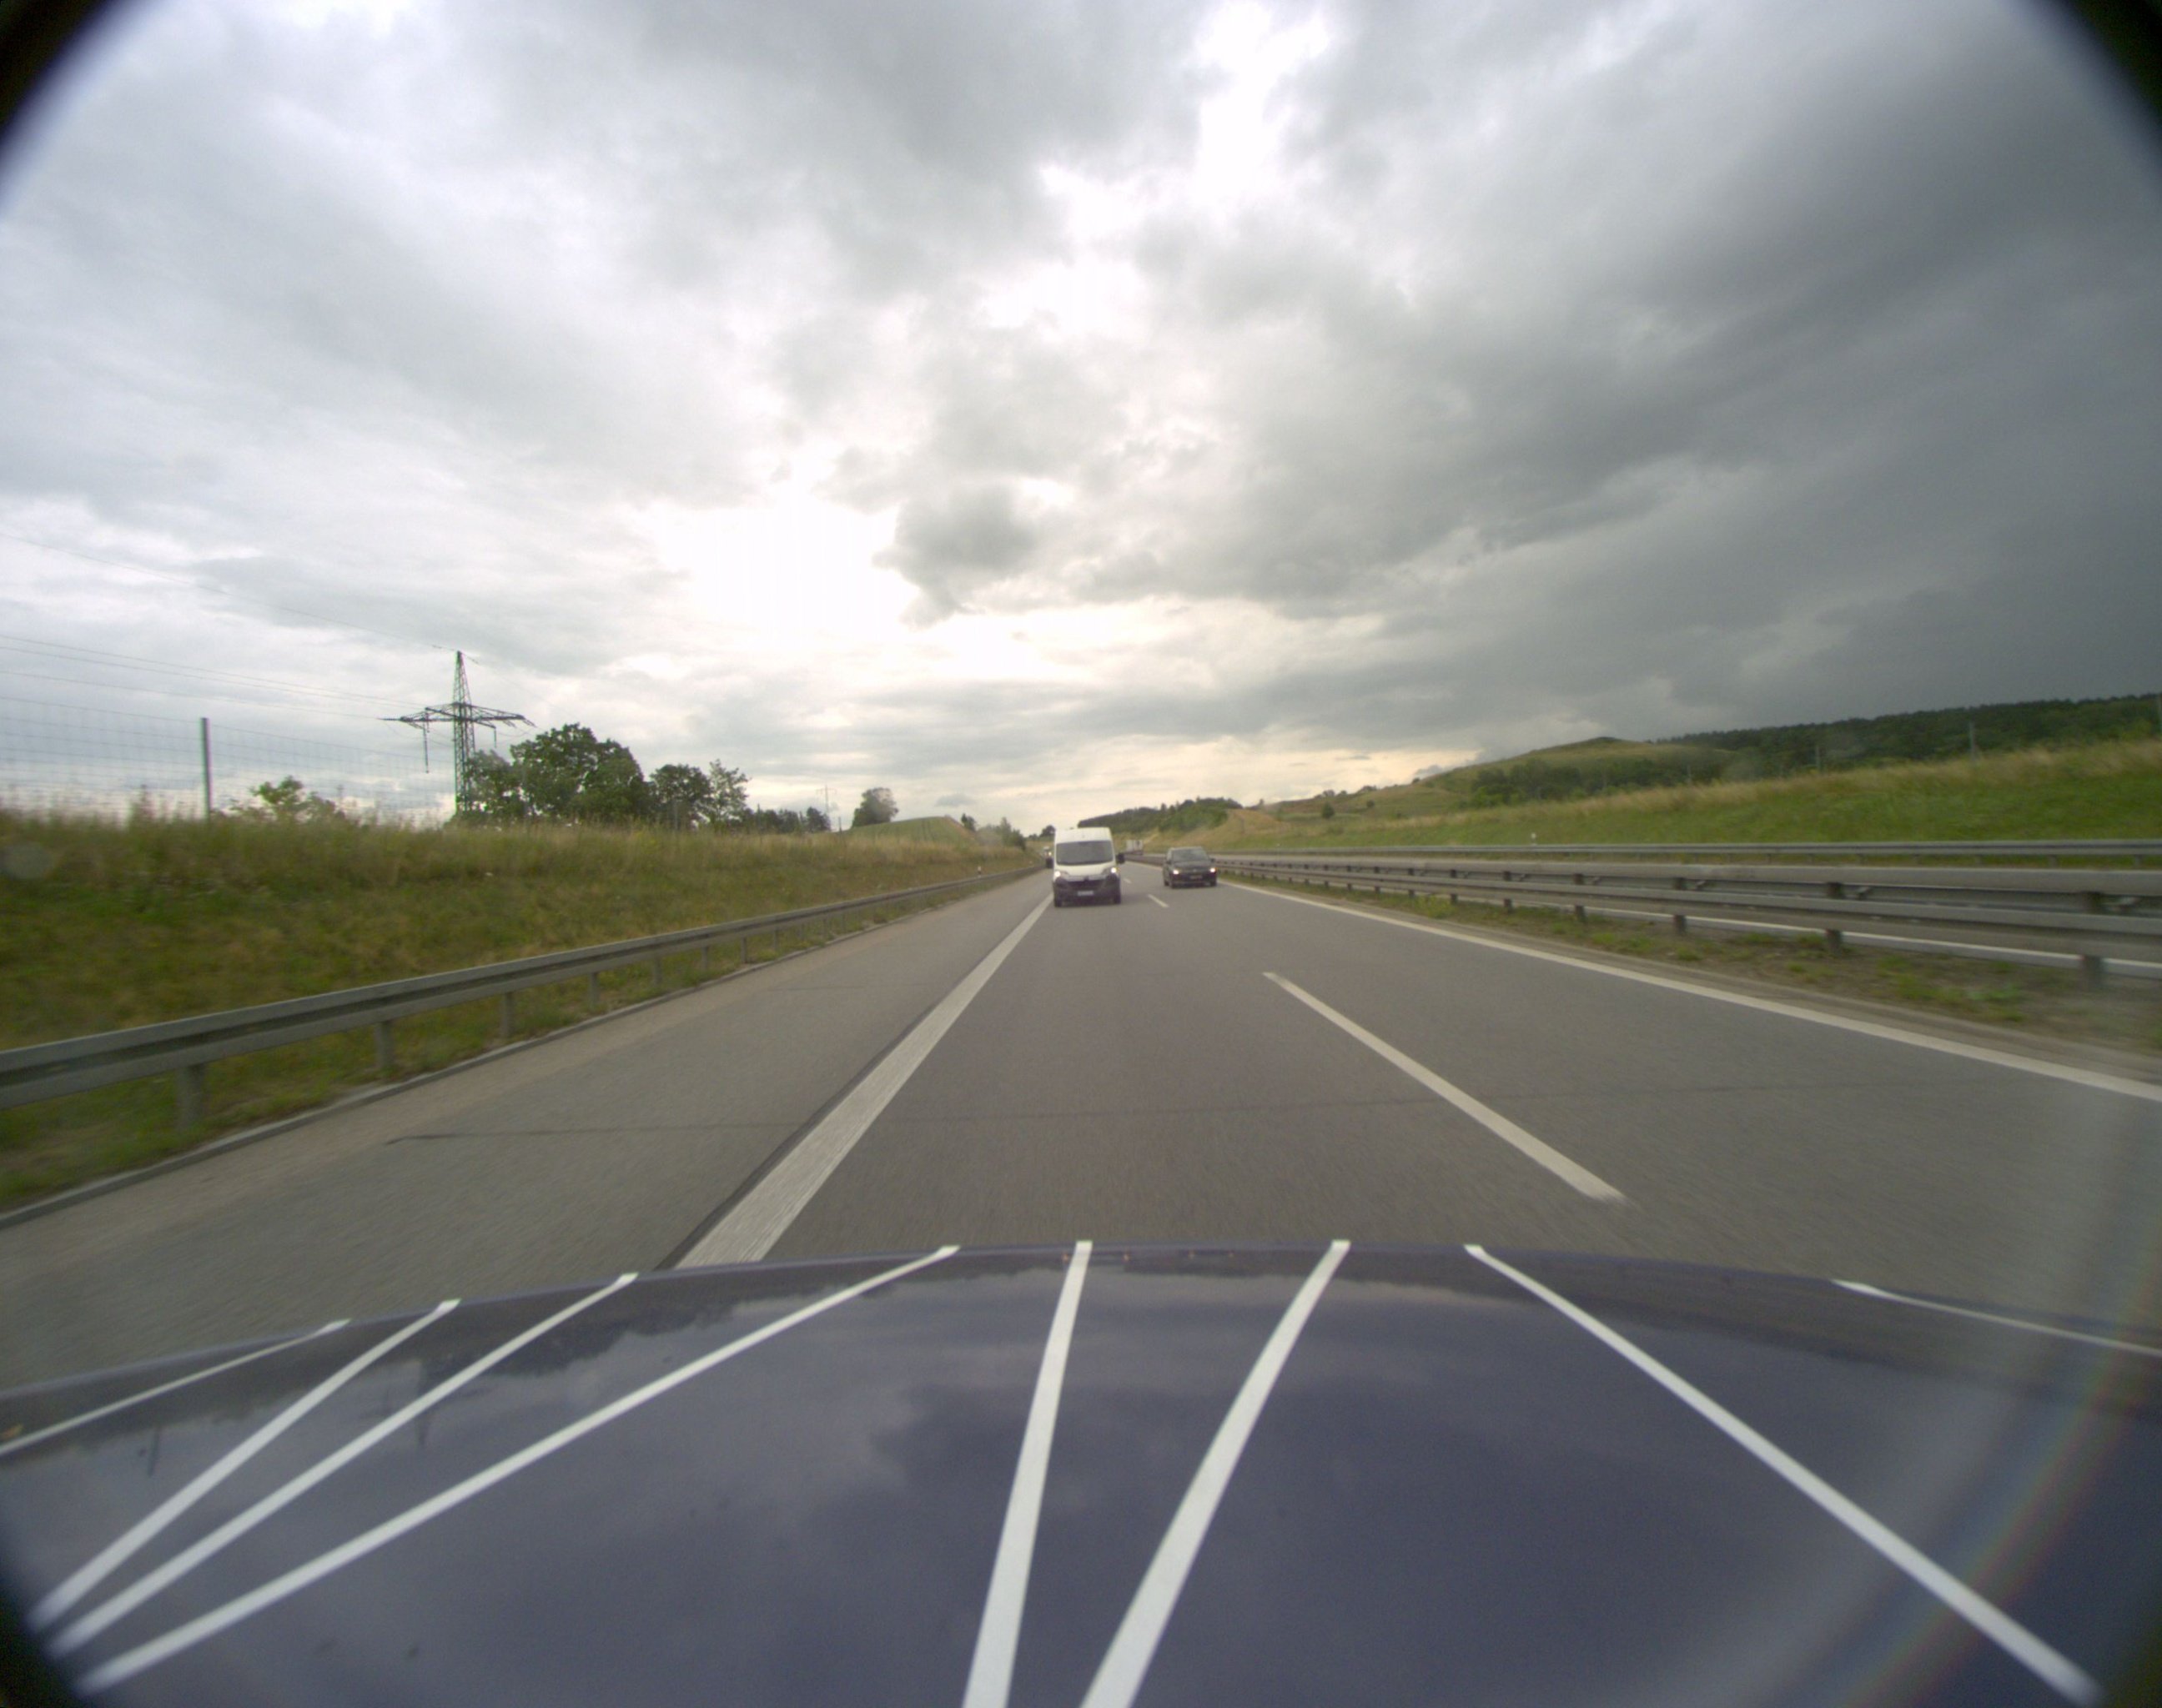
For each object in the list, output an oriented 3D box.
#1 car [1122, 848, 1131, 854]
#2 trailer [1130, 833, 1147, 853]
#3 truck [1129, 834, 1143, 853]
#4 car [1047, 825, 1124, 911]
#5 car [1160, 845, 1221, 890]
[{"bbox_3d":[10.816,-0.690,181.462,1.768,1.416,3.999,-4,0,-2],"label":"car"},{"bbox_3d":[14.435,-2.598,191.038,2.802,4.623,14.845,-4,0,0],"label":"trailer"},{"bbox_3d":[14.402,-2.640,197.815,2.802,4.620,6.919,-4,1,0],"label":"truck"},{"bbox_3d":[0.142,0.398,25.792,2.132,2.412,6.110,-4,1,0],"label":"car"},{"bbox_3d":[4.507,0.496,31.968,1.901,1.661,5.396,-2,1,2],"label":"car"}]
